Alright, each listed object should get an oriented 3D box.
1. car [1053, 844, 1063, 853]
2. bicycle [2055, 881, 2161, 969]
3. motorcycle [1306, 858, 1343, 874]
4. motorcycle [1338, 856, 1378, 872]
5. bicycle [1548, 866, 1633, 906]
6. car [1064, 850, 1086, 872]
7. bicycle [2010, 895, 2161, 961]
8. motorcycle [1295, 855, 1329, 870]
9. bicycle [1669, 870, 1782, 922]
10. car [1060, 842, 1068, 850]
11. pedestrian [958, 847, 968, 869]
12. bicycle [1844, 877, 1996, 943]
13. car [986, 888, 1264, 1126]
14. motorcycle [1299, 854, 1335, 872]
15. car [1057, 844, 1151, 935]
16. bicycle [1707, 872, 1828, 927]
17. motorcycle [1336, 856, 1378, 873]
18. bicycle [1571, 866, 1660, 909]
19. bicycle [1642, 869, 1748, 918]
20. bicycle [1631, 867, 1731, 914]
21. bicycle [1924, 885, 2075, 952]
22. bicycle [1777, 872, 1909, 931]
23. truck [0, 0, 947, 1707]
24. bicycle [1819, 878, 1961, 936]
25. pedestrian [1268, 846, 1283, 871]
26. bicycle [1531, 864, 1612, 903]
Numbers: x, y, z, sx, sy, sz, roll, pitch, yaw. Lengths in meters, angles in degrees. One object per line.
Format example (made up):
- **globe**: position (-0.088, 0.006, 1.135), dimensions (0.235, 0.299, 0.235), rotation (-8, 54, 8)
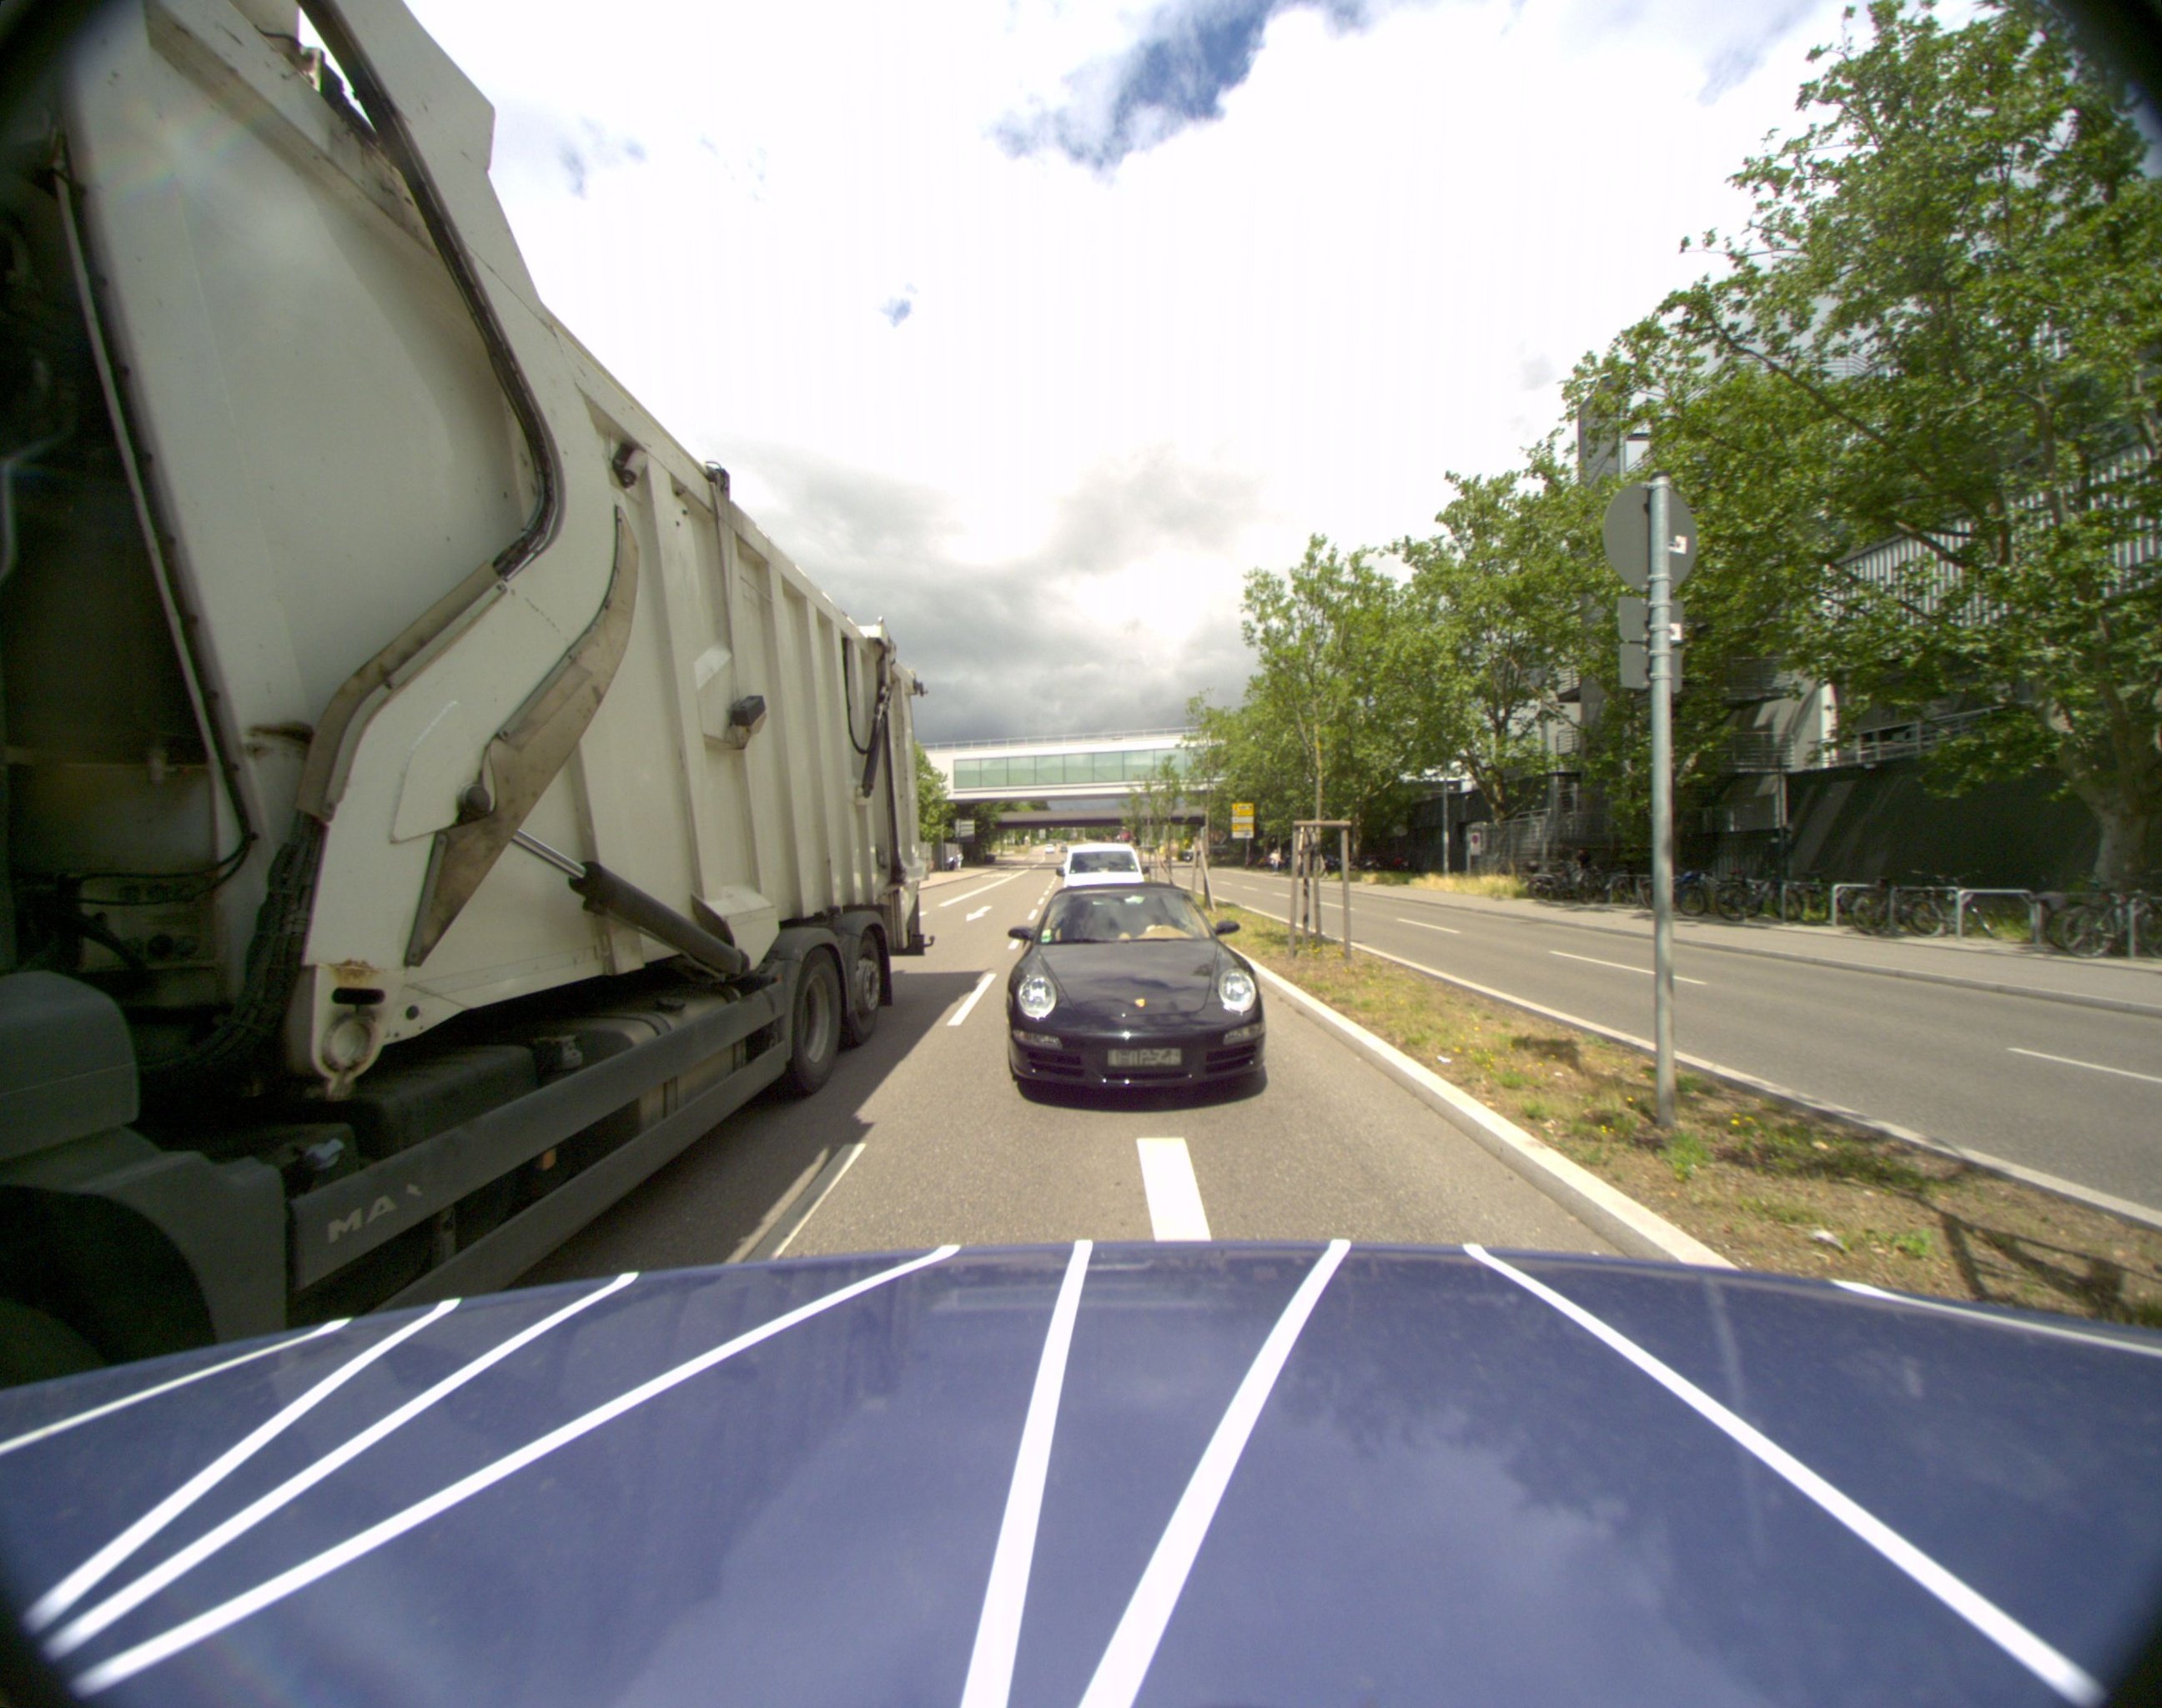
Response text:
- **car**: position (-5.390, -1.326, 178.962), dimensions (1.925, 2.082, 4.657), rotation (-1, 0, 2)
- **bicycle**: position (14.354, 0.937, 10.237), dimensions (1.993, 1.121, 0.382), rotation (-1, 1, -1)
- **motorcycle**: position (15.303, 0.762, 47.686), dimensions (2.133, 0.963, 0.534), rotation (-1, 0, 1)
- **motorcycle**: position (16.218, 0.584, 44.558), dimensions (2.133, 0.880, 0.534), rotation (-1, 0, 1)
- **bicycle**: position (14.753, 0.914, 22.021), dimensions (2.129, 1.104, 0.382), rotation (-1, 1, 3)
- **car**: position (-0.484, 0.548, 62.103), dimensions (1.747, 1.647, 3.544), rotation (-1, 0, -1)
- **bicycle**: position (14.957, 1.082, 11.240), dimensions (1.993, 0.885, 0.382), rotation (-1, 1, -1)
- **motorcycle**: position (15.329, 0.552, 50.450), dimensions (2.133, 0.963, 0.534), rotation (-1, 0, 1)
- **bicycle**: position (14.480, 0.943, 17.084), dimensions (2.129, 1.104, 0.382), rotation (-1, 1, 3)
- **car**: position (-4.149, -1.963, 185.828), dimensions (1.862, 1.800, 4.357), rotation (-3, 0, 1)
- **pedestrian**: position (-10.647, 0.377, 68.371), dimensions (0.739, 1.901, 0.658), rotation (-2, 1, -1)
- **bicycle**: position (14.579, 0.967, 13.220), dimensions (2.129, 1.089, 0.382), rotation (-1, 1, 3)
- **car**: position (0.301, 1.042, 6.651), dimensions (1.710, 1.280, 3.806), rotation (-1, 0, 1)
- **motorcycle**: position (15.244, 0.588, 49.071), dimensions (2.133, 1.131, 0.534), rotation (-1, 0, 1)
- **car**: position (0.495, 0.714, 17.775), dimensions (1.862, 1.800, 4.906), rotation (-1, 0, 1)
- **bicycle**: position (14.501, 0.955, 16.060), dimensions (2.129, 1.104, 0.382), rotation (-1, 1, 3)
- **motorcycle**: position (15.407, 0.568, 42.379), dimensions (2.133, 0.893, 0.534), rotation (-1, 0, 1)
- **bicycle**: position (14.823, 0.927, 21.098), dimensions (2.129, 1.104, 0.382), rotation (-1, 1, 3)
- **bicycle**: position (14.505, 0.935, 17.971), dimensions (2.129, 1.104, 0.382), rotation (-1, 1, 3)
- **bicycle**: position (15.065, 0.906, 19.086), dimensions (2.129, 1.104, 0.382), rotation (-1, 1, 3)
- **bicycle**: position (14.753, 1.024, 12.219), dimensions (1.993, 0.992, 0.382), rotation (-1, 1, -1)
- **bicycle**: position (15.042, 0.937, 15.021), dimensions (2.129, 1.104, 0.382), rotation (-1, 1, 3)
- **truck**: position (-2.987, -0.229, 4.401), dimensions (2.495, 3.890, 10.172), rotation (-2, 1, 0)
- **bicycle**: position (15.012, 0.980, 14.114), dimensions (2.129, 1.025, 0.382), rotation (-1, 1, 3)
- **pedestrian**: position (13.183, 0.289, 51.509), dimensions (0.900, 1.710, 0.673), rotation (-1, 1, 1)
- **bicycle**: position (14.749, 0.878, 22.862), dimensions (2.129, 1.104, 0.382), rotation (-1, 1, 3)
